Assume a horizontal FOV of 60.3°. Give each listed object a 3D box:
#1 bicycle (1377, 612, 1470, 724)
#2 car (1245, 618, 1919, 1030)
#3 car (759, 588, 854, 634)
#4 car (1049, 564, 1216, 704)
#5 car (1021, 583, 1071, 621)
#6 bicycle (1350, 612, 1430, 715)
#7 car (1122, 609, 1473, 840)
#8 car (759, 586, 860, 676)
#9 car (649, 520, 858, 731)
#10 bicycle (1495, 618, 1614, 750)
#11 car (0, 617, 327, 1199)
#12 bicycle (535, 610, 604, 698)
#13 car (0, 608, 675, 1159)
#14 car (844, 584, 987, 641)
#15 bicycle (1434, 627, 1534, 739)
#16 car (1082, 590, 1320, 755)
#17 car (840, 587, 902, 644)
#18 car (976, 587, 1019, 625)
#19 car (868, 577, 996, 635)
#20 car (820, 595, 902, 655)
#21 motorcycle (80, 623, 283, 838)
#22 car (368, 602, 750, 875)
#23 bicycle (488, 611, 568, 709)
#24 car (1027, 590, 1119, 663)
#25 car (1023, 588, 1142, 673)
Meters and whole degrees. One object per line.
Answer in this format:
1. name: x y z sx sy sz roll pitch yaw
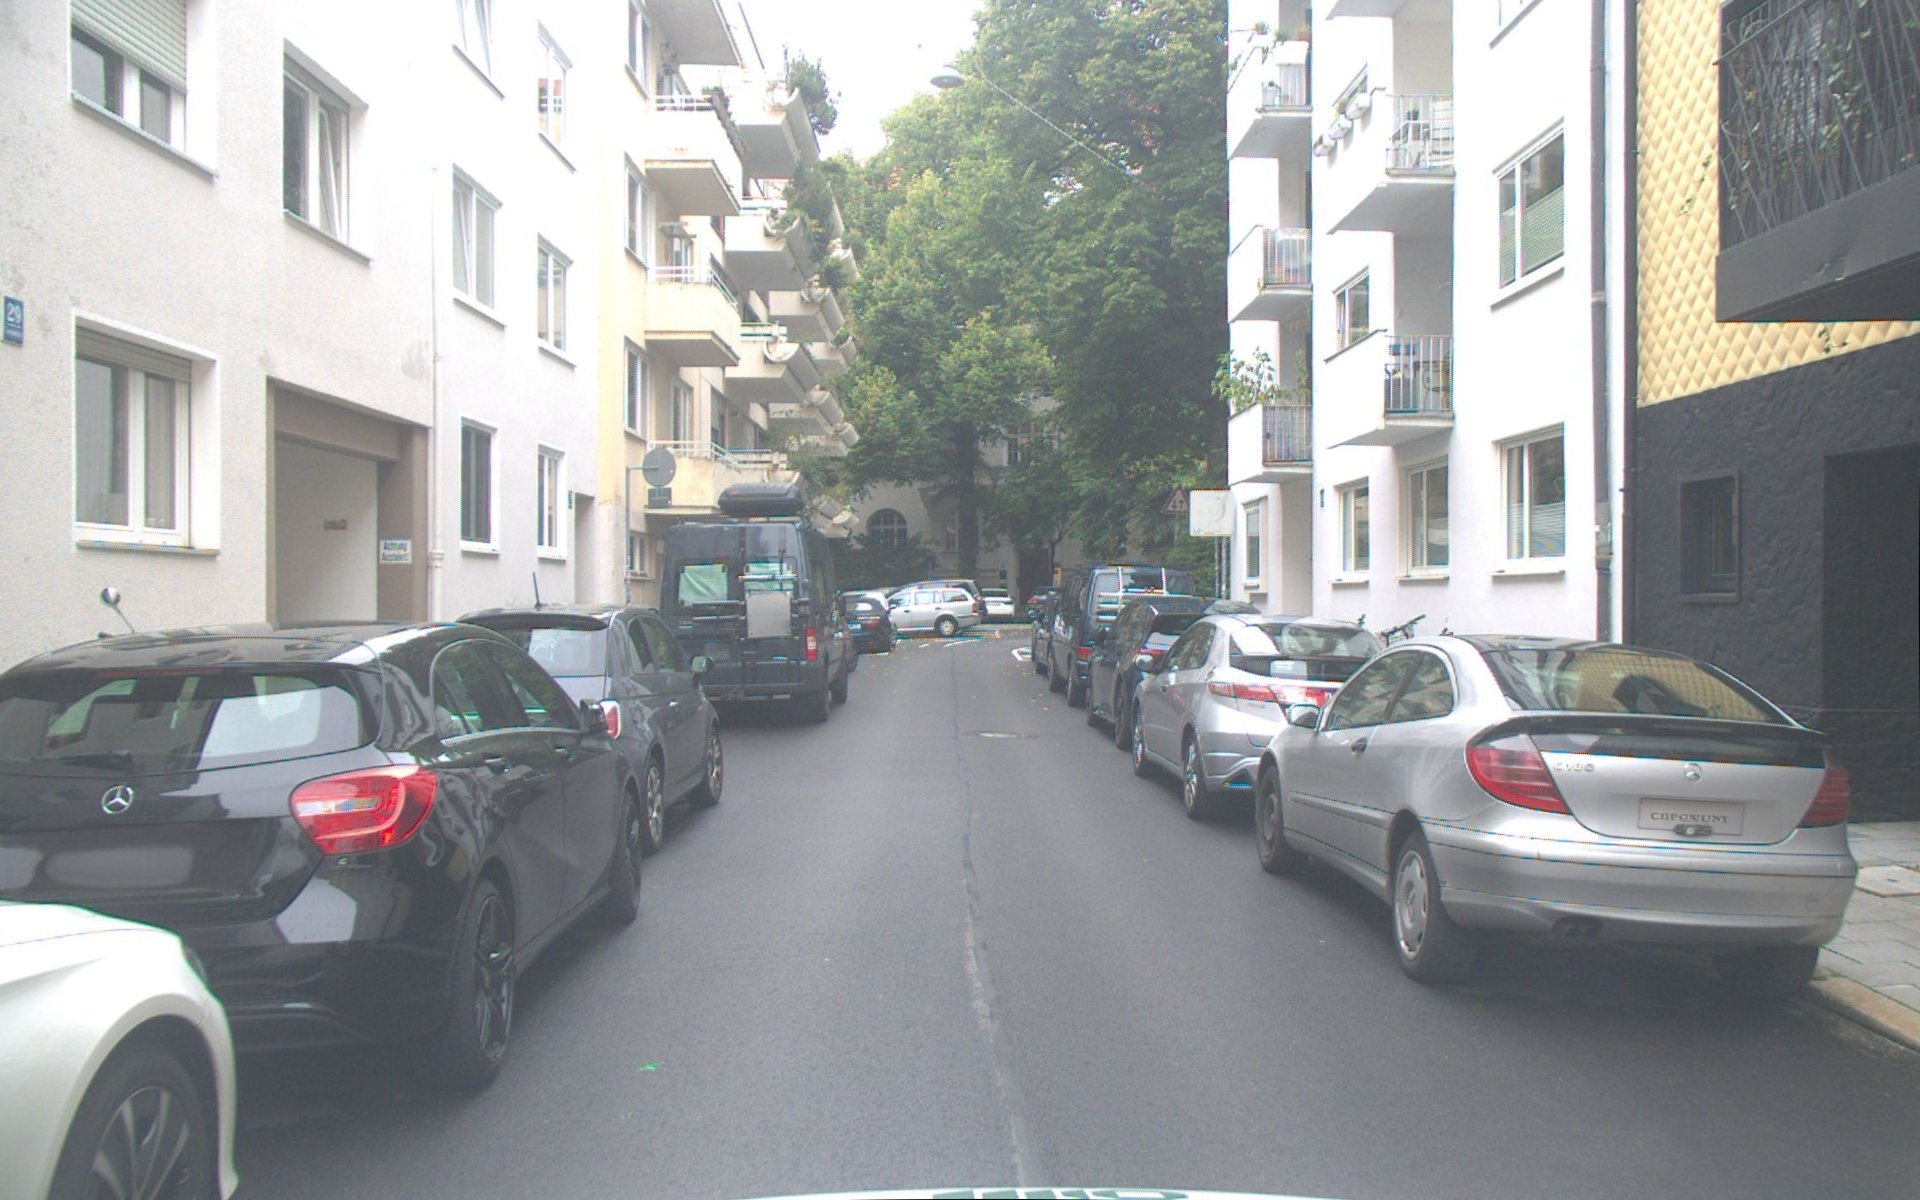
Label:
1. bicycle: 5.165 0.739 18.508 0.559 1.171 1.563 0 0 -1
2. car: 2.698 0.841 8.193 1.699 1.454 4.201 0 0 -2
3. car: -5.698 0.406 61.302 3.239 1.659 1.501 0 0 -20
4. car: 2.391 0.447 24.107 1.836 1.822 4.781 0 0 -1
5. car: 3.437 0.068 65.671 1.753 1.456 4.003 0 0 6
6. bicycle: 5.187 0.745 20.022 0.559 1.171 1.430 0 0 -1
7. car: 2.483 0.855 13.257 1.724 1.456 4.259 3 0 -3
8. car: -2.701 0.522 30.300 1.587 1.522 3.708 -1 0 -2
9. car: -2.507 0.286 21.463 1.977 2.318 5.390 -2 0 0
10. bicycle: 5.224 0.712 14.607 0.467 1.066 1.521 0 0 -1
11. car: -2.391 0.777 1.489 1.873 1.462 4.807 0 0 -1
12. bicycle: -5.267 0.705 22.383 0.453 1.117 1.870 0 0 1
13. car: -2.287 0.766 6.540 1.765 1.442 4.224 0 0 -3
14. car: -1.313 0.367 49.602 4.142 1.480 1.721 -3 1 -1
15. bicycle: 5.173 0.800 16.405 0.467 1.020 1.552 0 0 -1
16. car: 2.509 0.703 18.342 1.867 1.581 4.624 0 0 -1
17. car: -2.408 0.393 45.457 1.529 1.446 3.832 -2 1 -2
18. car: 1.531 0.211 66.877 1.683 1.456 4.001 0 0 2
19. car: -0.940 0.171 54.859 4.135 1.713 1.902 -2 0 -3
20. car: -2.355 0.569 40.466 1.760 1.300 4.616 -2 1 -1
21. motorcycle: -4.938 0.774 10.616 0.587 1.224 1.856 0 0 -6
22. car: -2.514 0.789 11.258 1.578 1.471 3.743 -3 0 1
23. bicycle: -5.261 0.705 20.239 0.453 1.117 1.870 0 0 1
24. car: 2.372 0.523 35.395 1.707 1.466 4.000 -1 0 0
25. car: 2.195 0.519 30.663 1.796 1.444 4.057 -1 0 -2
